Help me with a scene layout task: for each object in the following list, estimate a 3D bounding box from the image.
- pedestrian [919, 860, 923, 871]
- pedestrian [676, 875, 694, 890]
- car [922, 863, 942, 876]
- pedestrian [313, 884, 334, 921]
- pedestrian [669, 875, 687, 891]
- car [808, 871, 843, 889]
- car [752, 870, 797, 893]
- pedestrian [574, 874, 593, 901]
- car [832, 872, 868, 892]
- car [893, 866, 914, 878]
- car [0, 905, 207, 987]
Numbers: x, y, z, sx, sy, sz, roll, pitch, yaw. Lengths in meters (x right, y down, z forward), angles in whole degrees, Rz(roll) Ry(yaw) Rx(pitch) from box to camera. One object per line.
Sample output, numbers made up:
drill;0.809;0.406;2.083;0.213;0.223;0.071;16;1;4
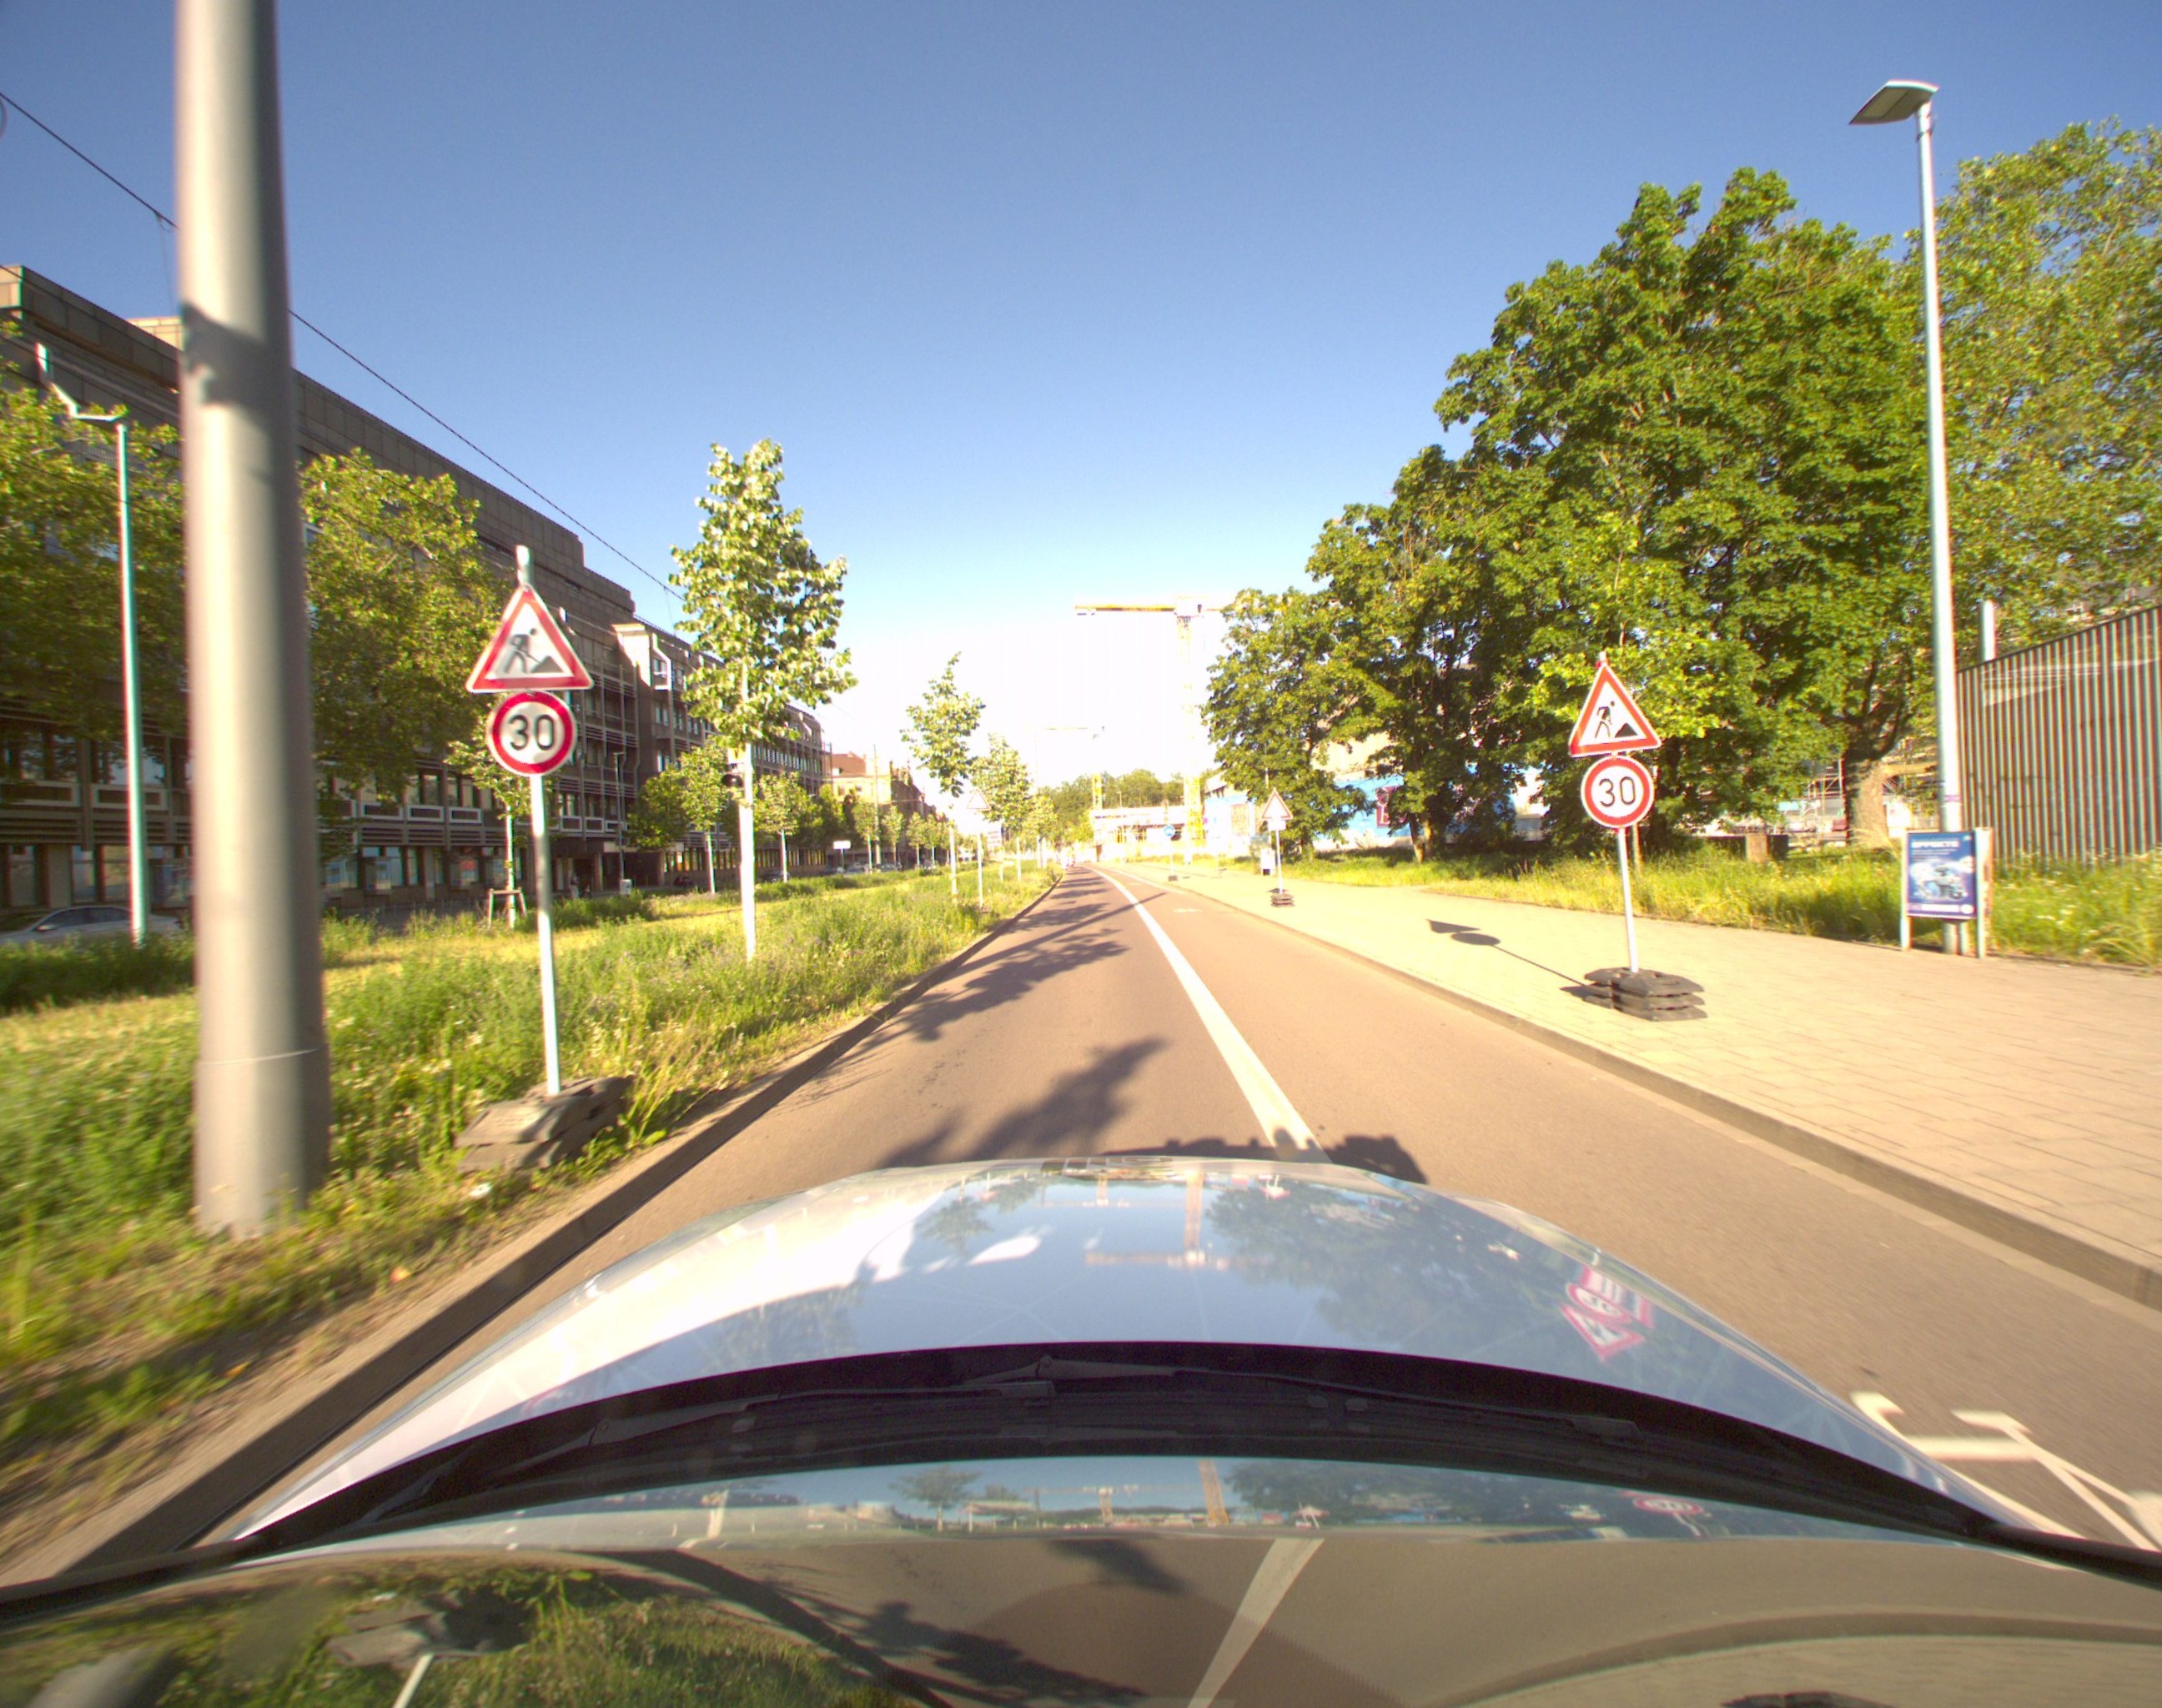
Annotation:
pedestrian;-28.502;2.015;145.101;0.549;1.947;0.648;-3;0;-8
pedestrian;-31.457;2.251;64.698;0.896;1.169;0.899;-3;0;1
car;-20.342;2.085;111.155;1.897;1.575;4.300;-3;0;0
pedestrian;-32.895;2.105;35.366;0.407;1.561;0.447;-3;0;2
pedestrian;-31.424;2.244;63.504;0.897;1.169;0.865;-3;0;0
car;-24.899;2.512;79.495;1.897;1.575;4.300;-3;0;0
car;-24.453;2.180;65.085;1.897;1.575;4.300;-3;0;0
pedestrian;-29.284;1.974;47.942;0.662;1.532;0.649;-3;0;-2
car;-20.255;2.424;71.561;1.897;1.575;4.000;-3;0;0
car;-25.400;2.553;116.597;1.897;1.575;4.300;-3;0;0
car;-23.892;2.130;19.062;1.751;1.515;4.585;-3;0;2
